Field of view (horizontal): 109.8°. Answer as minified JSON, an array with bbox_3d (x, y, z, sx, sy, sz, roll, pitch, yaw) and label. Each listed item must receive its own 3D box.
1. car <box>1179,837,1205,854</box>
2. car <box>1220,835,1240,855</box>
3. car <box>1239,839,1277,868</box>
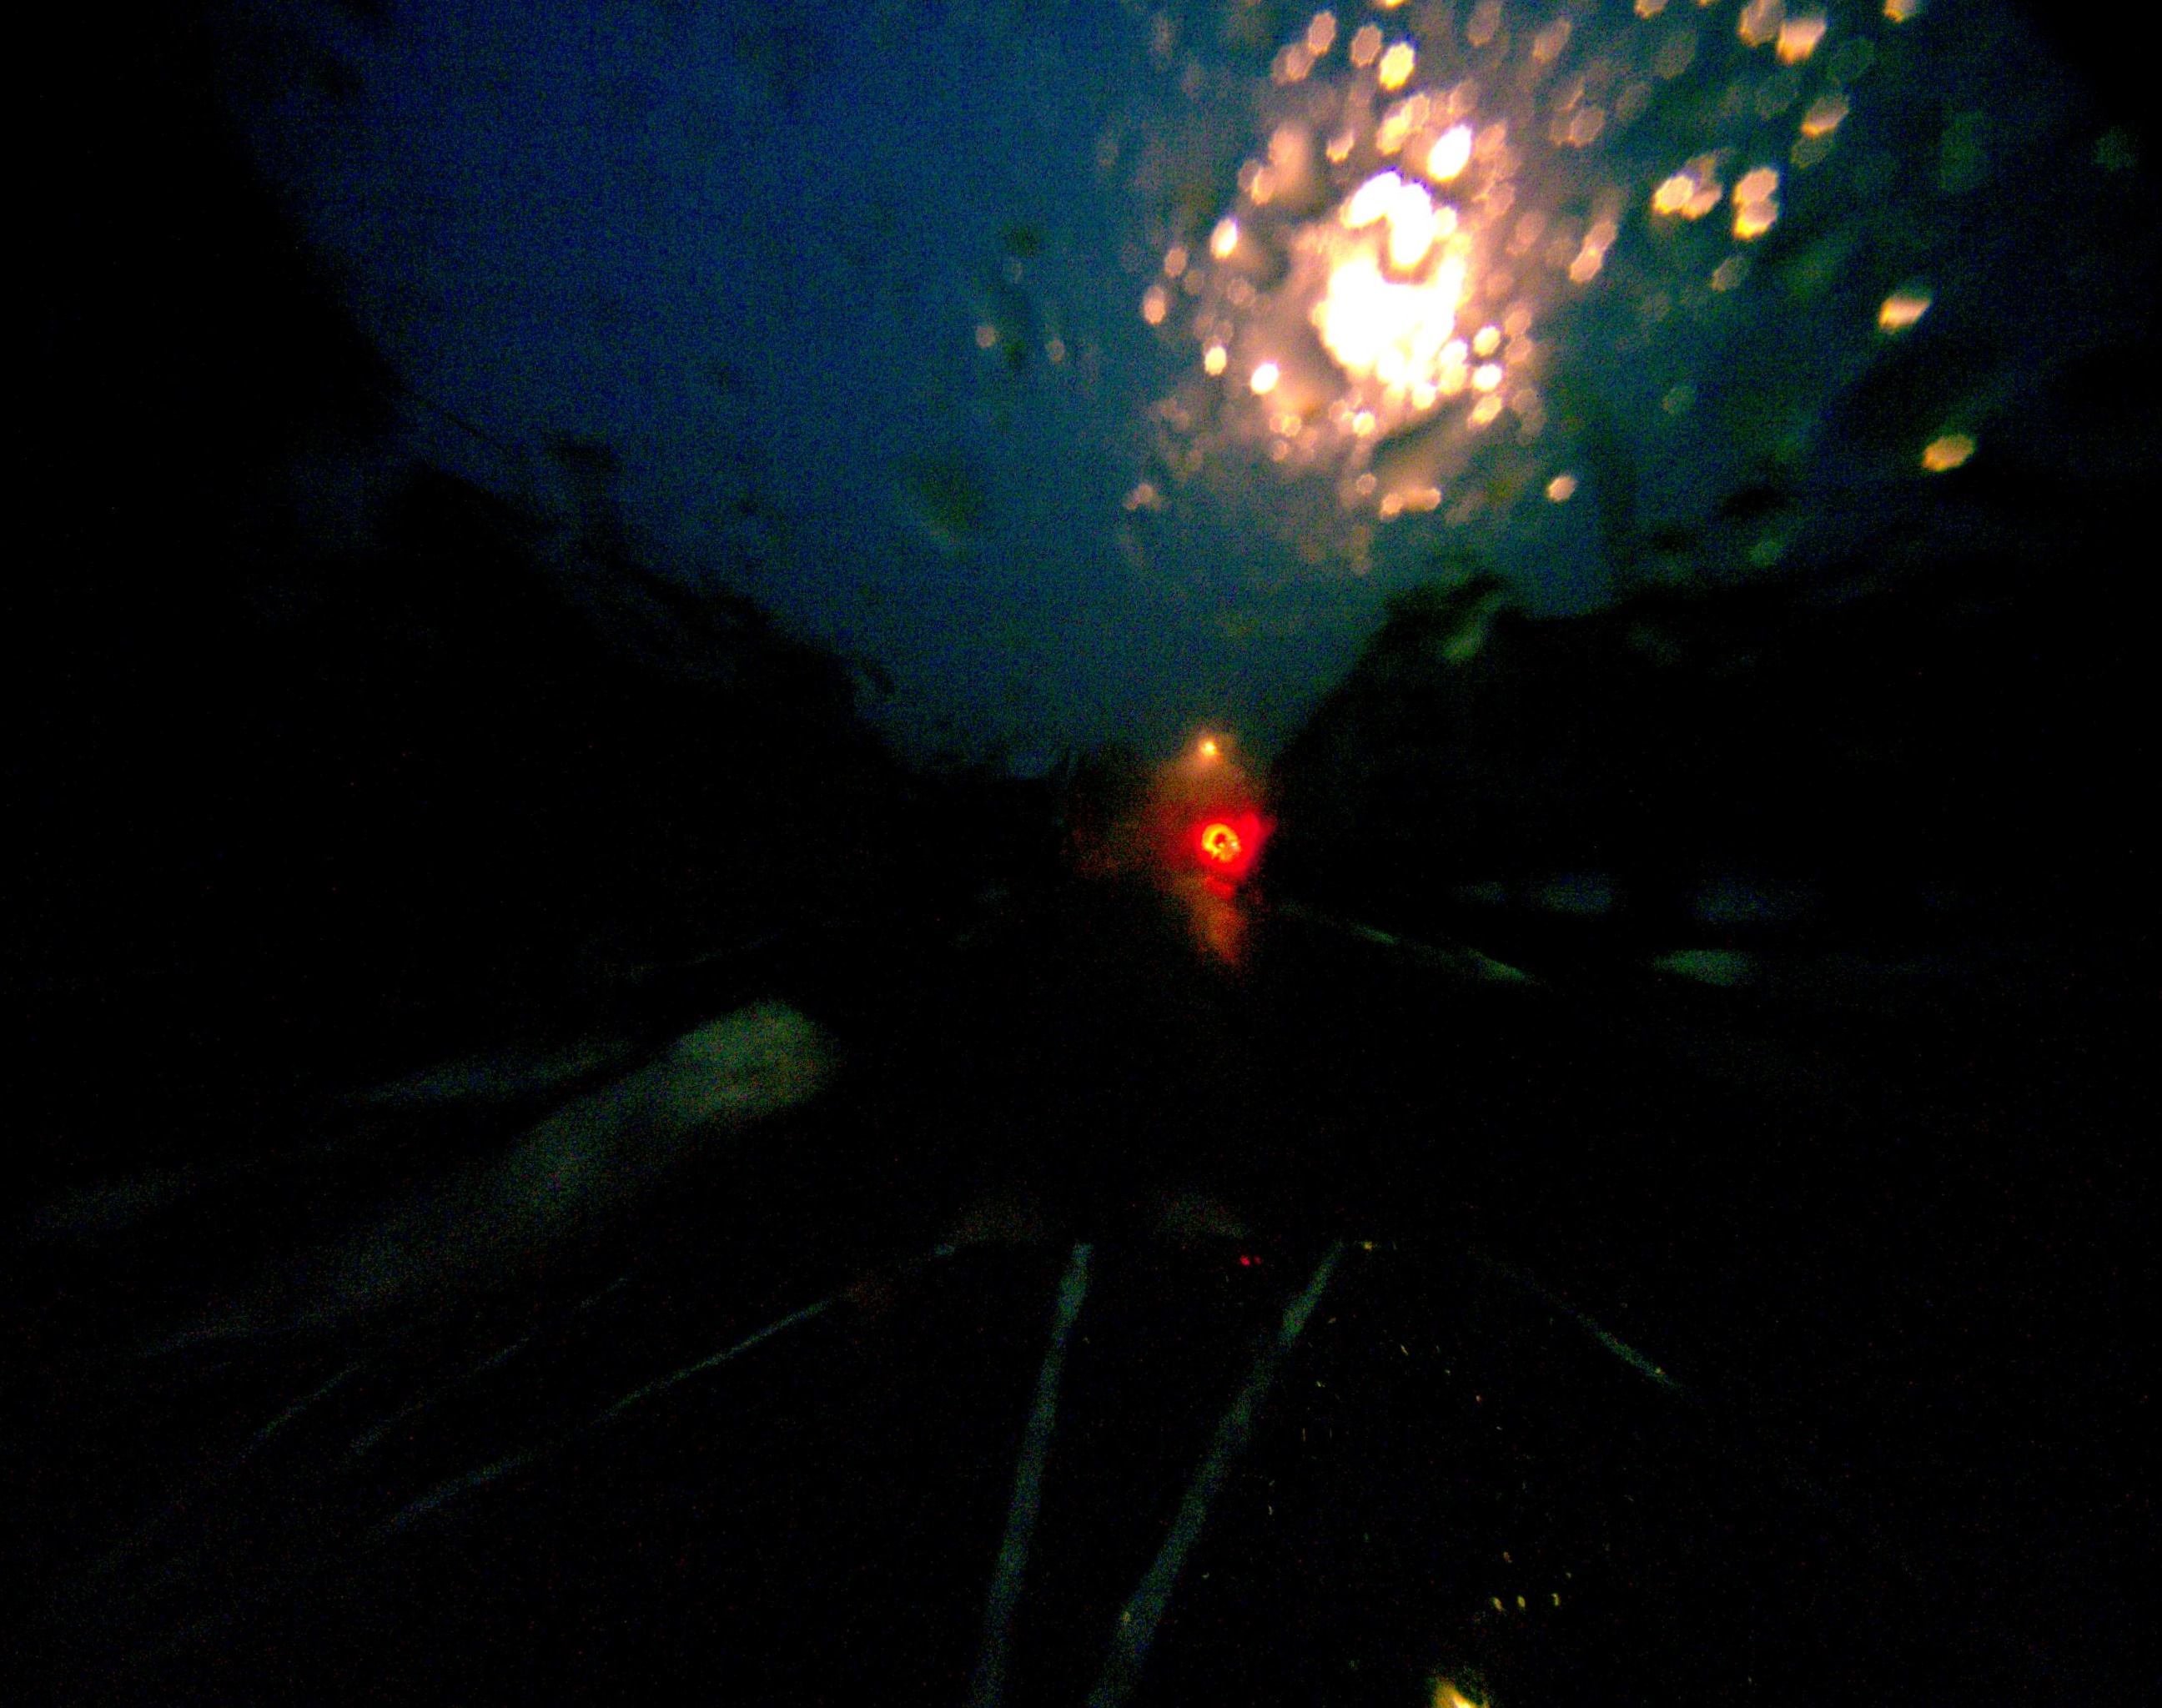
[{"bbox_3d":[11.501,-0.889,78.632,1.913,1.473,4.285,-2,3,18],"label":"car"},{"bbox_3d":[15.279,-0.958,77.791,1.843,1.678,4.479,-2,4,14],"label":"car"},{"bbox_3d":[10.739,-0.045,46.337,1.997,1.514,4.193,-4,0,12],"label":"car"}]
